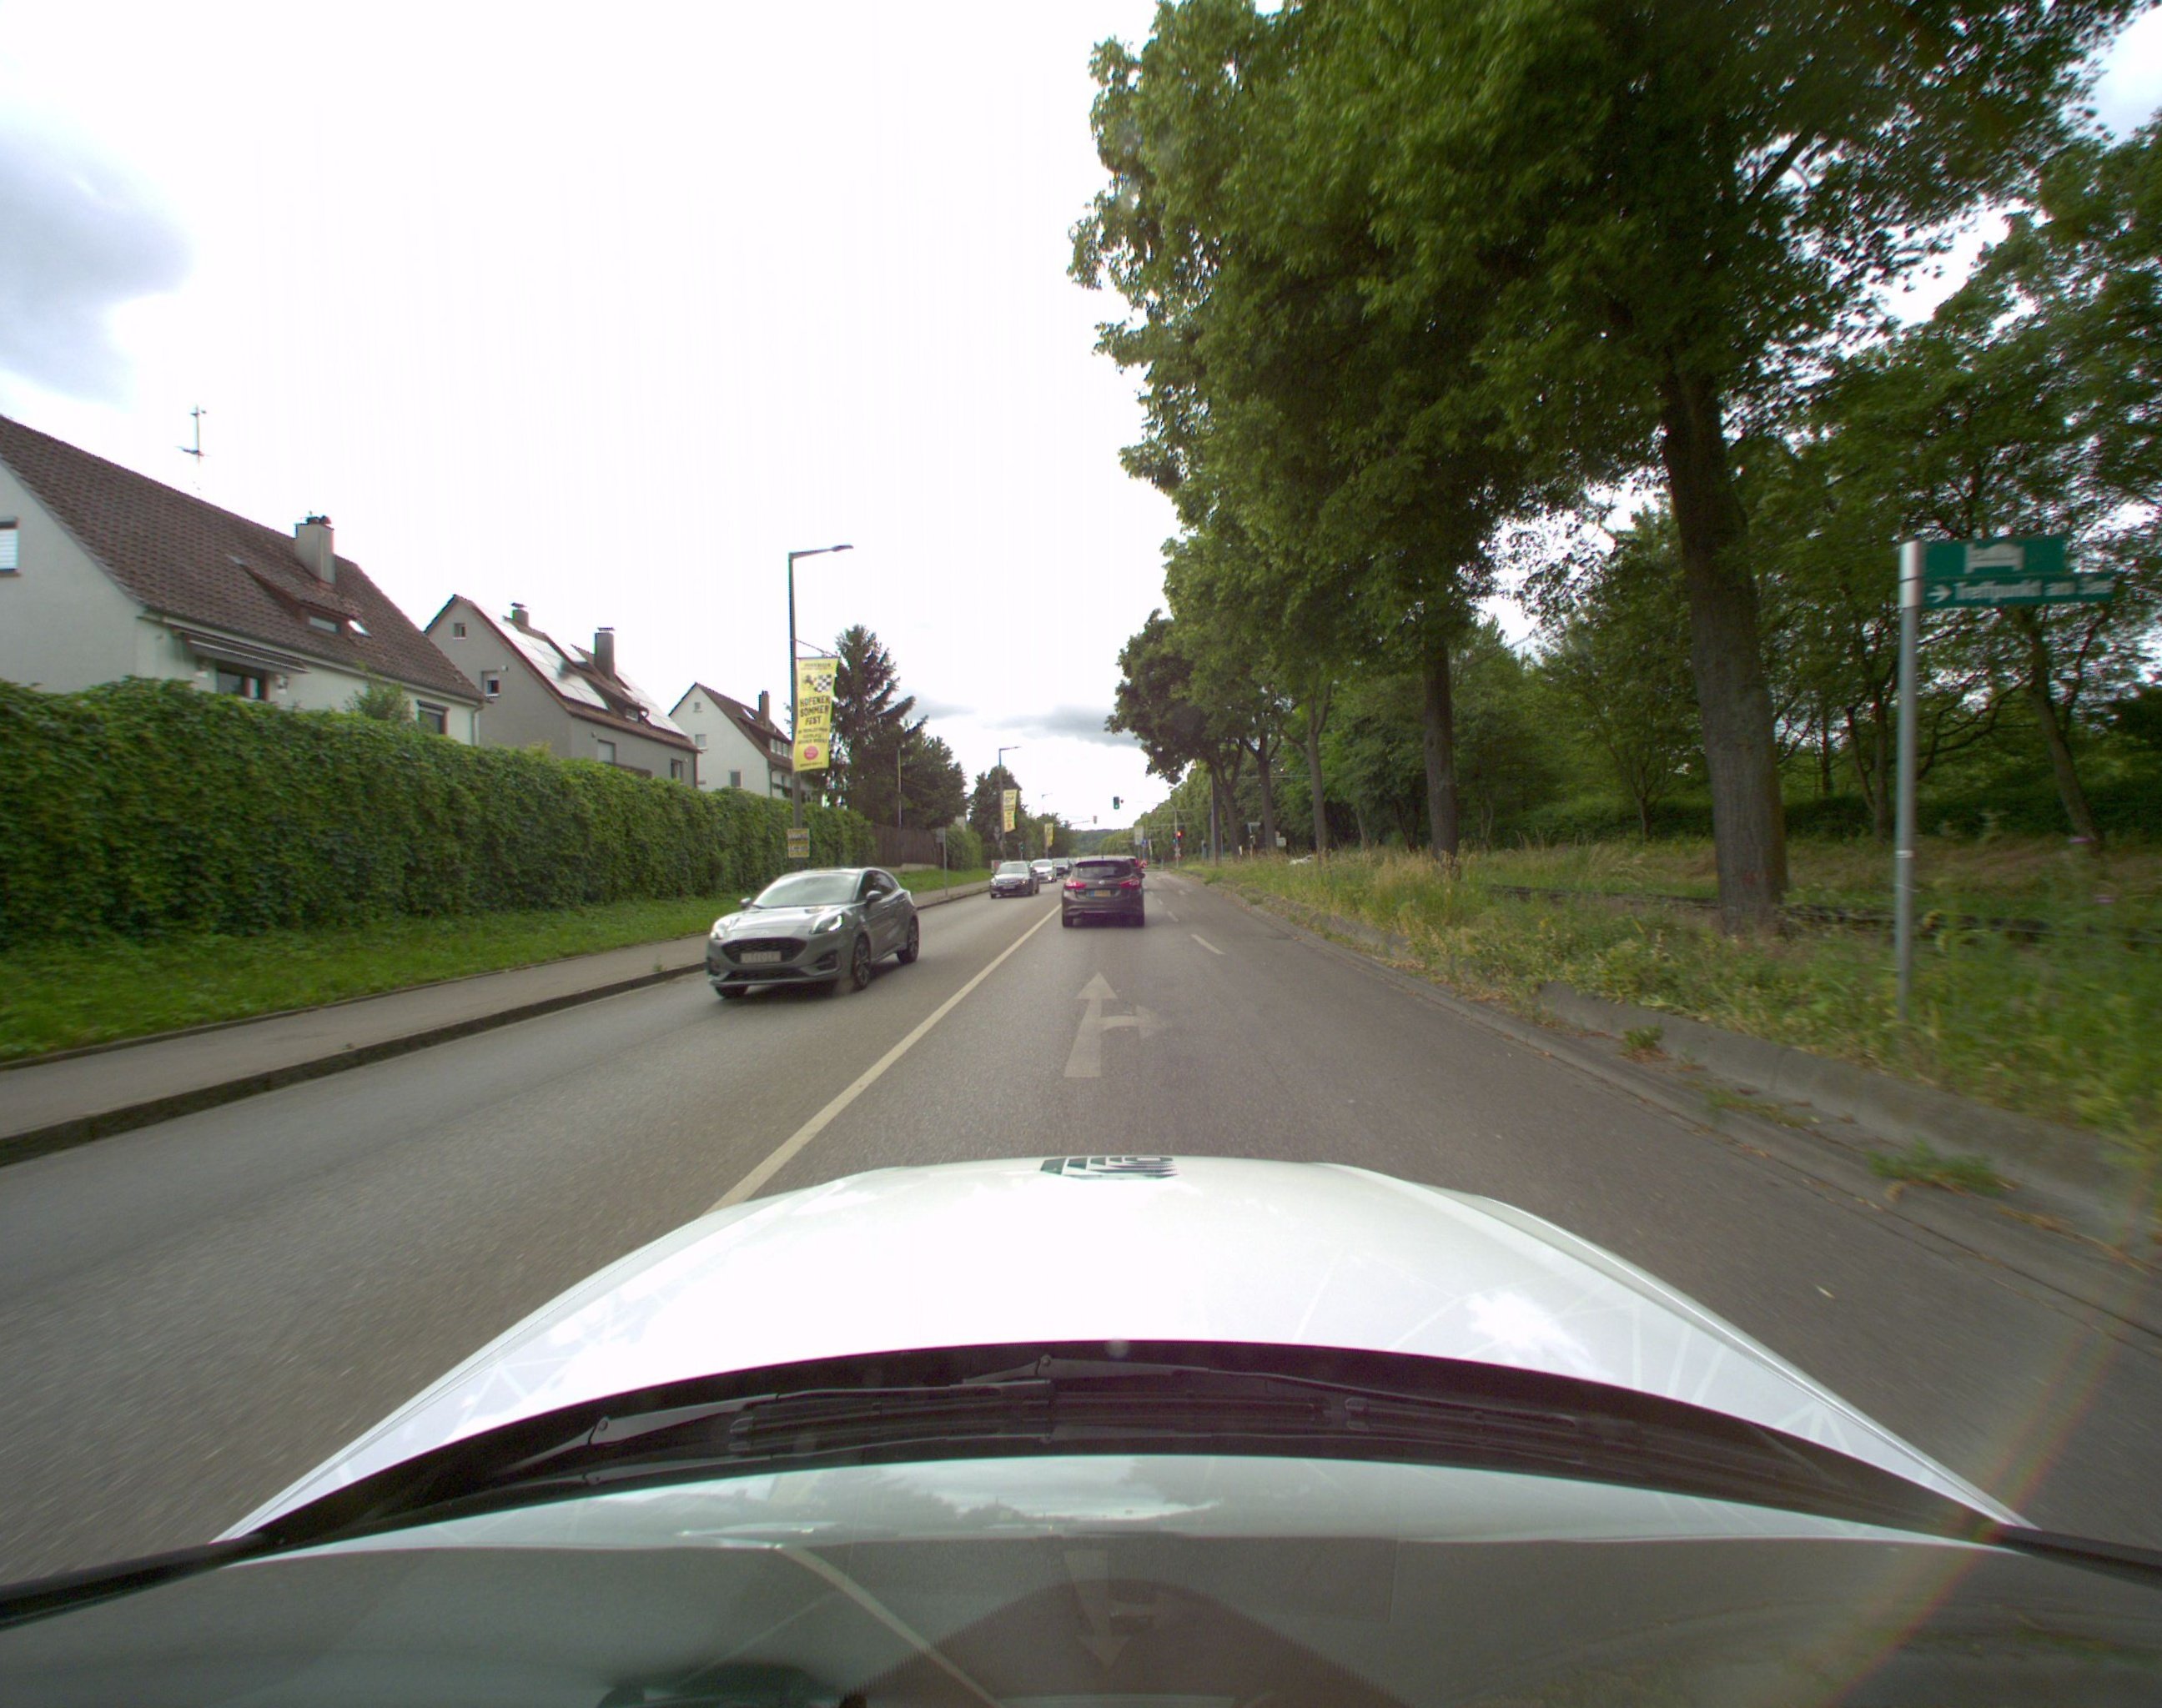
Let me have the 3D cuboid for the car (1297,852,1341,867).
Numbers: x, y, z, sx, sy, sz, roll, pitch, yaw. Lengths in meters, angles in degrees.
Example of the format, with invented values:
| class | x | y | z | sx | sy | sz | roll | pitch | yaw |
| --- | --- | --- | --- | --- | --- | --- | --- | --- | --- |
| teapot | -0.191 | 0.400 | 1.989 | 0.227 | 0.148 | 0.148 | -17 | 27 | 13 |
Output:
| class | x | y | z | sx | sy | sz | roll | pitch | yaw |
| --- | --- | --- | --- | --- | --- | --- | --- | --- | --- |
| car | 24.419 | 0.591 | 83.665 | 3.978 | 1.354 | 1.998 | 2 | -1 | -3 |

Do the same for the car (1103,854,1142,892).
| class | x | y | z | sx | sy | sz | roll | pitch | yaw |
| --- | --- | --- | --- | --- | --- | --- | --- | --- | --- |
| car | 1.781 | 0.762 | 34.763 | 1.532 | 1.478 | 3.767 | -1 | 0 | 3 |

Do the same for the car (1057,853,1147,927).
| class | x | y | z | sx | sy | sz | roll | pitch | yaw |
| --- | --- | --- | --- | --- | --- | --- | --- | --- | --- |
| car | 0.542 | 0.743 | 18.983 | 1.828 | 1.519 | 4.486 | -1 | 0 | 3 |

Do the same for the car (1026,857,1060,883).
| class | x | y | z | sx | sy | sz | roll | pitch | yaw |
| --- | --- | --- | --- | --- | --- | --- | --- | --- | --- |
| car | -2.404 | 1.011 | 52.169 | 1.611 | 1.461 | 4.075 | -5 | 0 | 3 |

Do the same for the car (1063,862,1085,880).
| class | x | y | z | sx | sy | sz | roll | pitch | yaw |
| --- | --- | --- | --- | --- | --- | --- | --- | --- | --- |
| car | -0.633 | 1.570 | 75.968 | 1.806 | 1.524 | 4.178 | -4 | 0 | 1 |

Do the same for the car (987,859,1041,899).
| class | x | y | z | sx | sy | sz | roll | pitch | yaw |
| --- | --- | --- | --- | --- | --- | --- | --- | --- | --- |
| car | -2.818 | 1.011 | 34.877 | 1.721 | 1.464 | 4.155 | -4 | 0 | 2 |

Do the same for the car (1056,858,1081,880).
| class | x | y | z | sx | sy | sz | roll | pitch | yaw |
| --- | --- | --- | --- | --- | --- | --- | --- | --- | --- |
| car | -0.916 | 1.131 | 62.228 | 1.637 | 1.481 | 4.108 | -4 | 0 | 1 |

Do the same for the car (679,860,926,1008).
| class | x | y | z | sx | sy | sz | roll | pitch | yaw |
| --- | --- | --- | --- | --- | --- | --- | --- | --- | --- |
| car | -3.512 | 0.914 | 11.153 | 1.744 | 1.518 | 4.002 | -4 | 0 | 2 |
